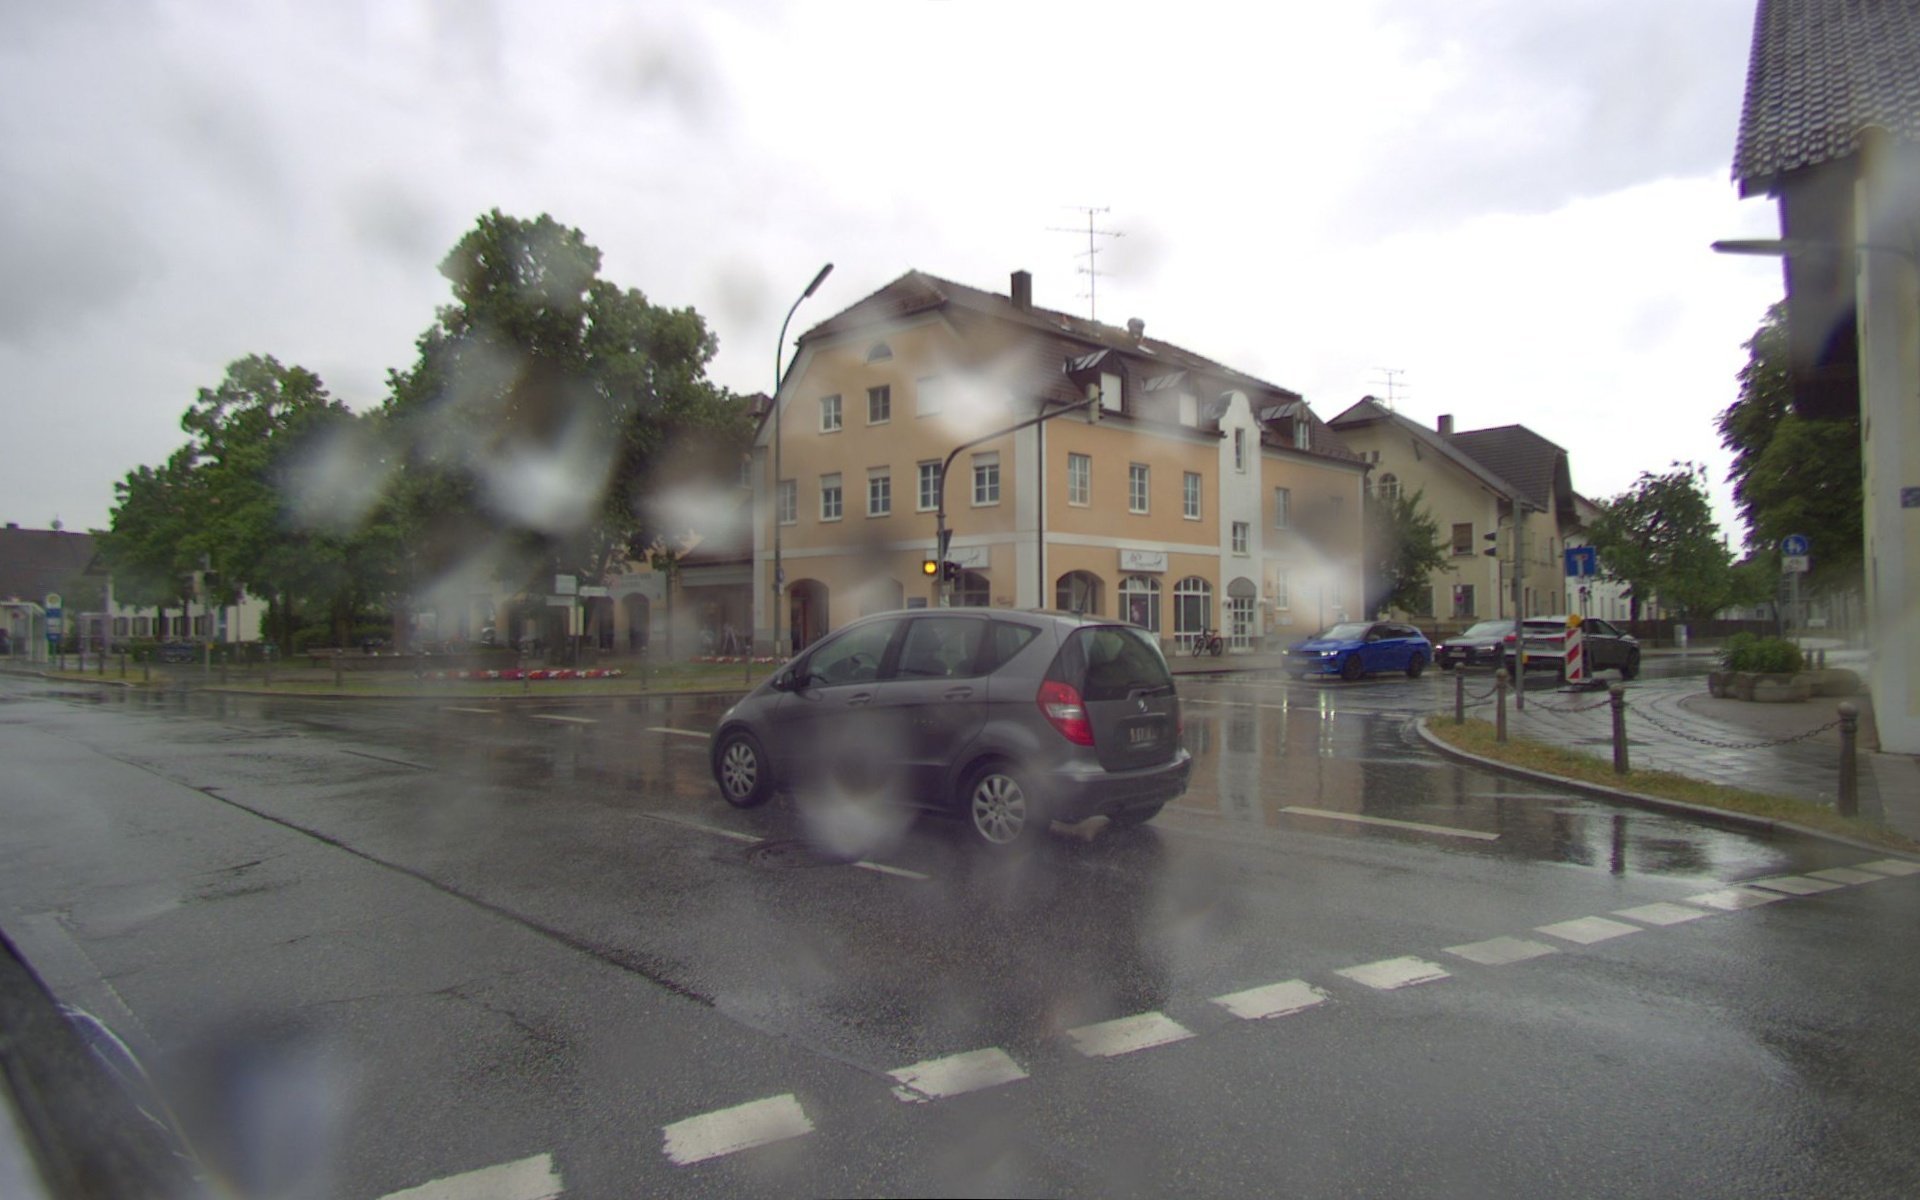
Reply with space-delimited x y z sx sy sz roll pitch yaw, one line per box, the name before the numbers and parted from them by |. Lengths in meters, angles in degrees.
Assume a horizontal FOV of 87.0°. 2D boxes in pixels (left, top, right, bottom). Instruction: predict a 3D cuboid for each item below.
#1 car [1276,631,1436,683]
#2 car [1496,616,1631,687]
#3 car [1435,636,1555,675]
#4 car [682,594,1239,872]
car | 10.103 1.397 25.736 4.288 1.194 1.694 1 -2 -35
car | 15.716 1.313 26.263 2.089 1.686 4.323 -1 -3 44
car | 15.685 1.583 29.626 4.006 1.025 1.427 1 -2 -35
car | -0.135 0.800 7.628 3.895 1.545 1.896 -1 -2 40
